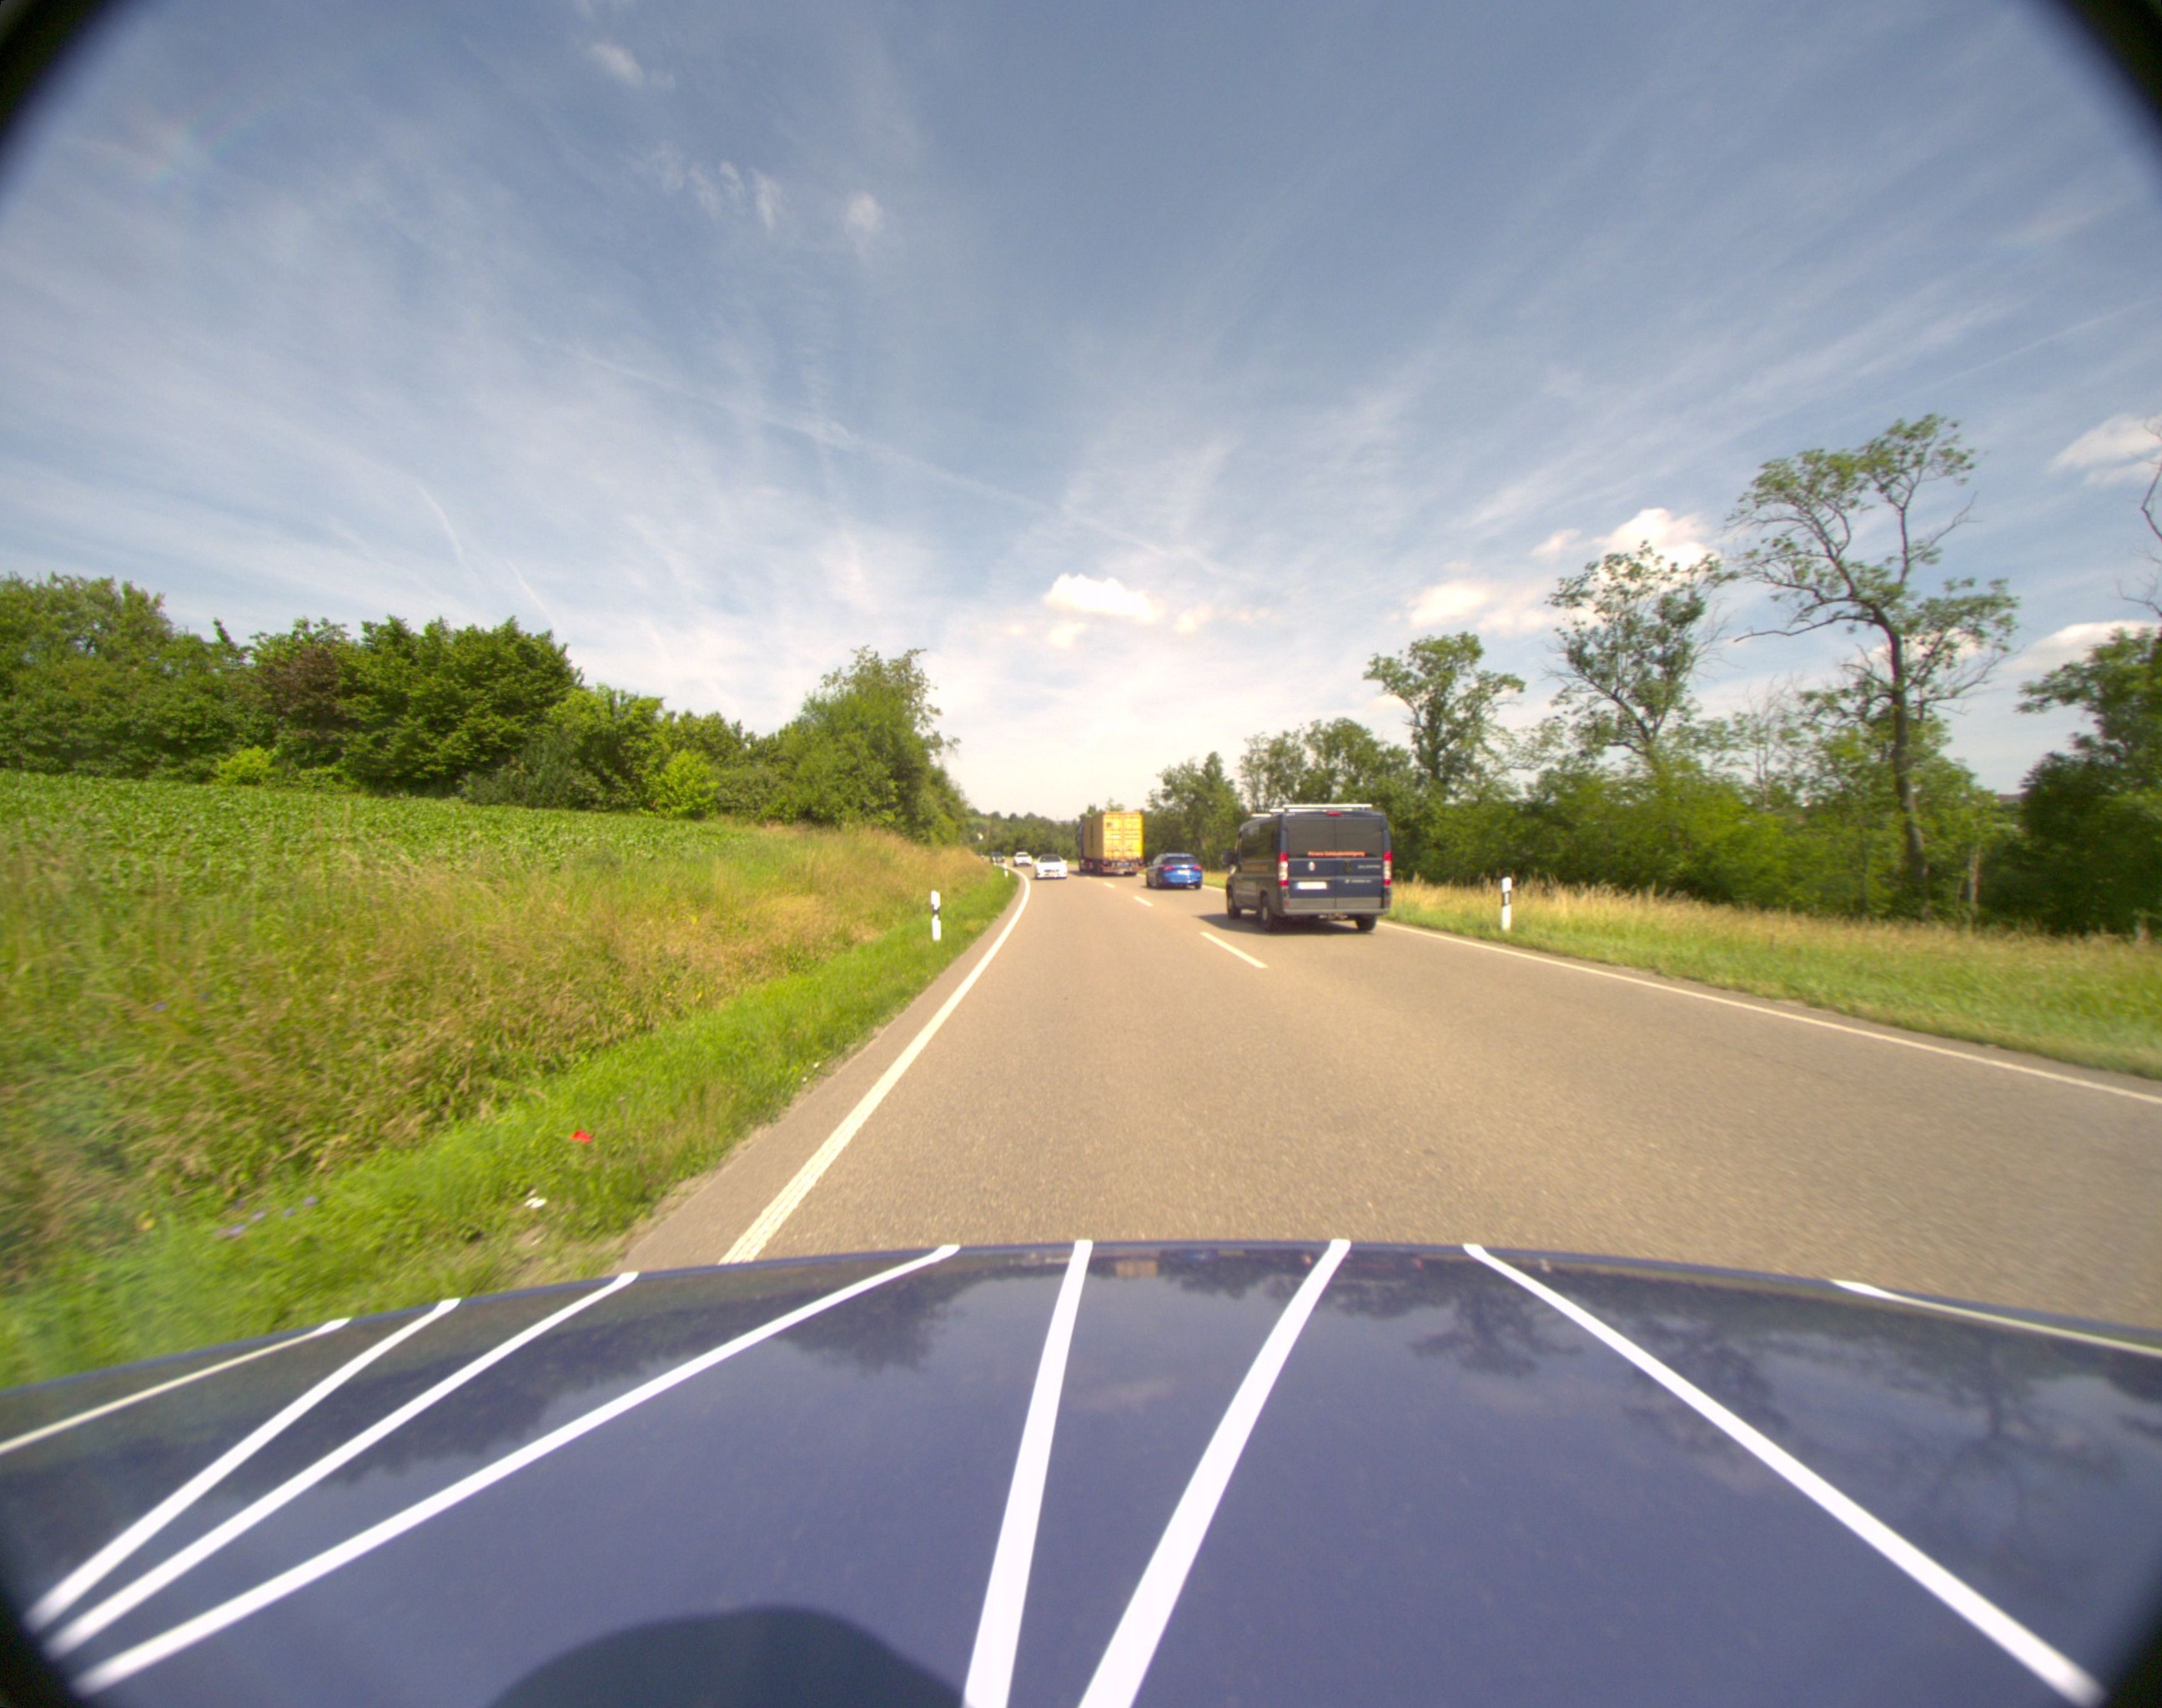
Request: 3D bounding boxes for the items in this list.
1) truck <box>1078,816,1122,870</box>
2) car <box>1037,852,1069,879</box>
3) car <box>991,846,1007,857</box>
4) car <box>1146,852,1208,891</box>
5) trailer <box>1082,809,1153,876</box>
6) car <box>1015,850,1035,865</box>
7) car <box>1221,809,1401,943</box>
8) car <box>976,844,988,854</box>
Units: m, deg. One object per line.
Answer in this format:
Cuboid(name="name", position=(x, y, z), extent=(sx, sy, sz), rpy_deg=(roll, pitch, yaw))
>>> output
Cuboid(name="truck", position=(1.436, -0.830, 59.837), extent=(2.815, 4.043, 5.982), rpy_deg=(-1, 0, -5))
Cuboid(name="car", position=(-1.752, 0.665, 46.461), extent=(1.773, 1.437, 3.998), rpy_deg=(-2, 1, -4))
Cuboid(name="car", position=(-11.917, -0.334, 110.605), extent=(1.826, 1.510, 3.995), rpy_deg=(3, 0, -12))
Cuboid(name="car", position=(3.923, 0.686, 31.811), extent=(1.868, 1.477, 4.357), rpy_deg=(0, 0, -2))
Cuboid(name="trailer", position=(2.228, -0.766, 52.156), extent=(3.006, 4.020, 12.908), rpy_deg=(-1, 1, -5))
Cuboid(name="car", position=(-6.206, 0.319, 83.817), extent=(1.867, 1.480, 3.996), rpy_deg=(-2, 2, -7))
Cuboid(name="car", position=(4.397, 0.372, 15.506), extent=(2.176, 2.290, 4.906), rpy_deg=(0, 0, 0))
Cuboid(name="car", position=(-17.191, -0.829, 131.838), extent=(1.667, 1.641, 3.995), rpy_deg=(3, 0, -12))
